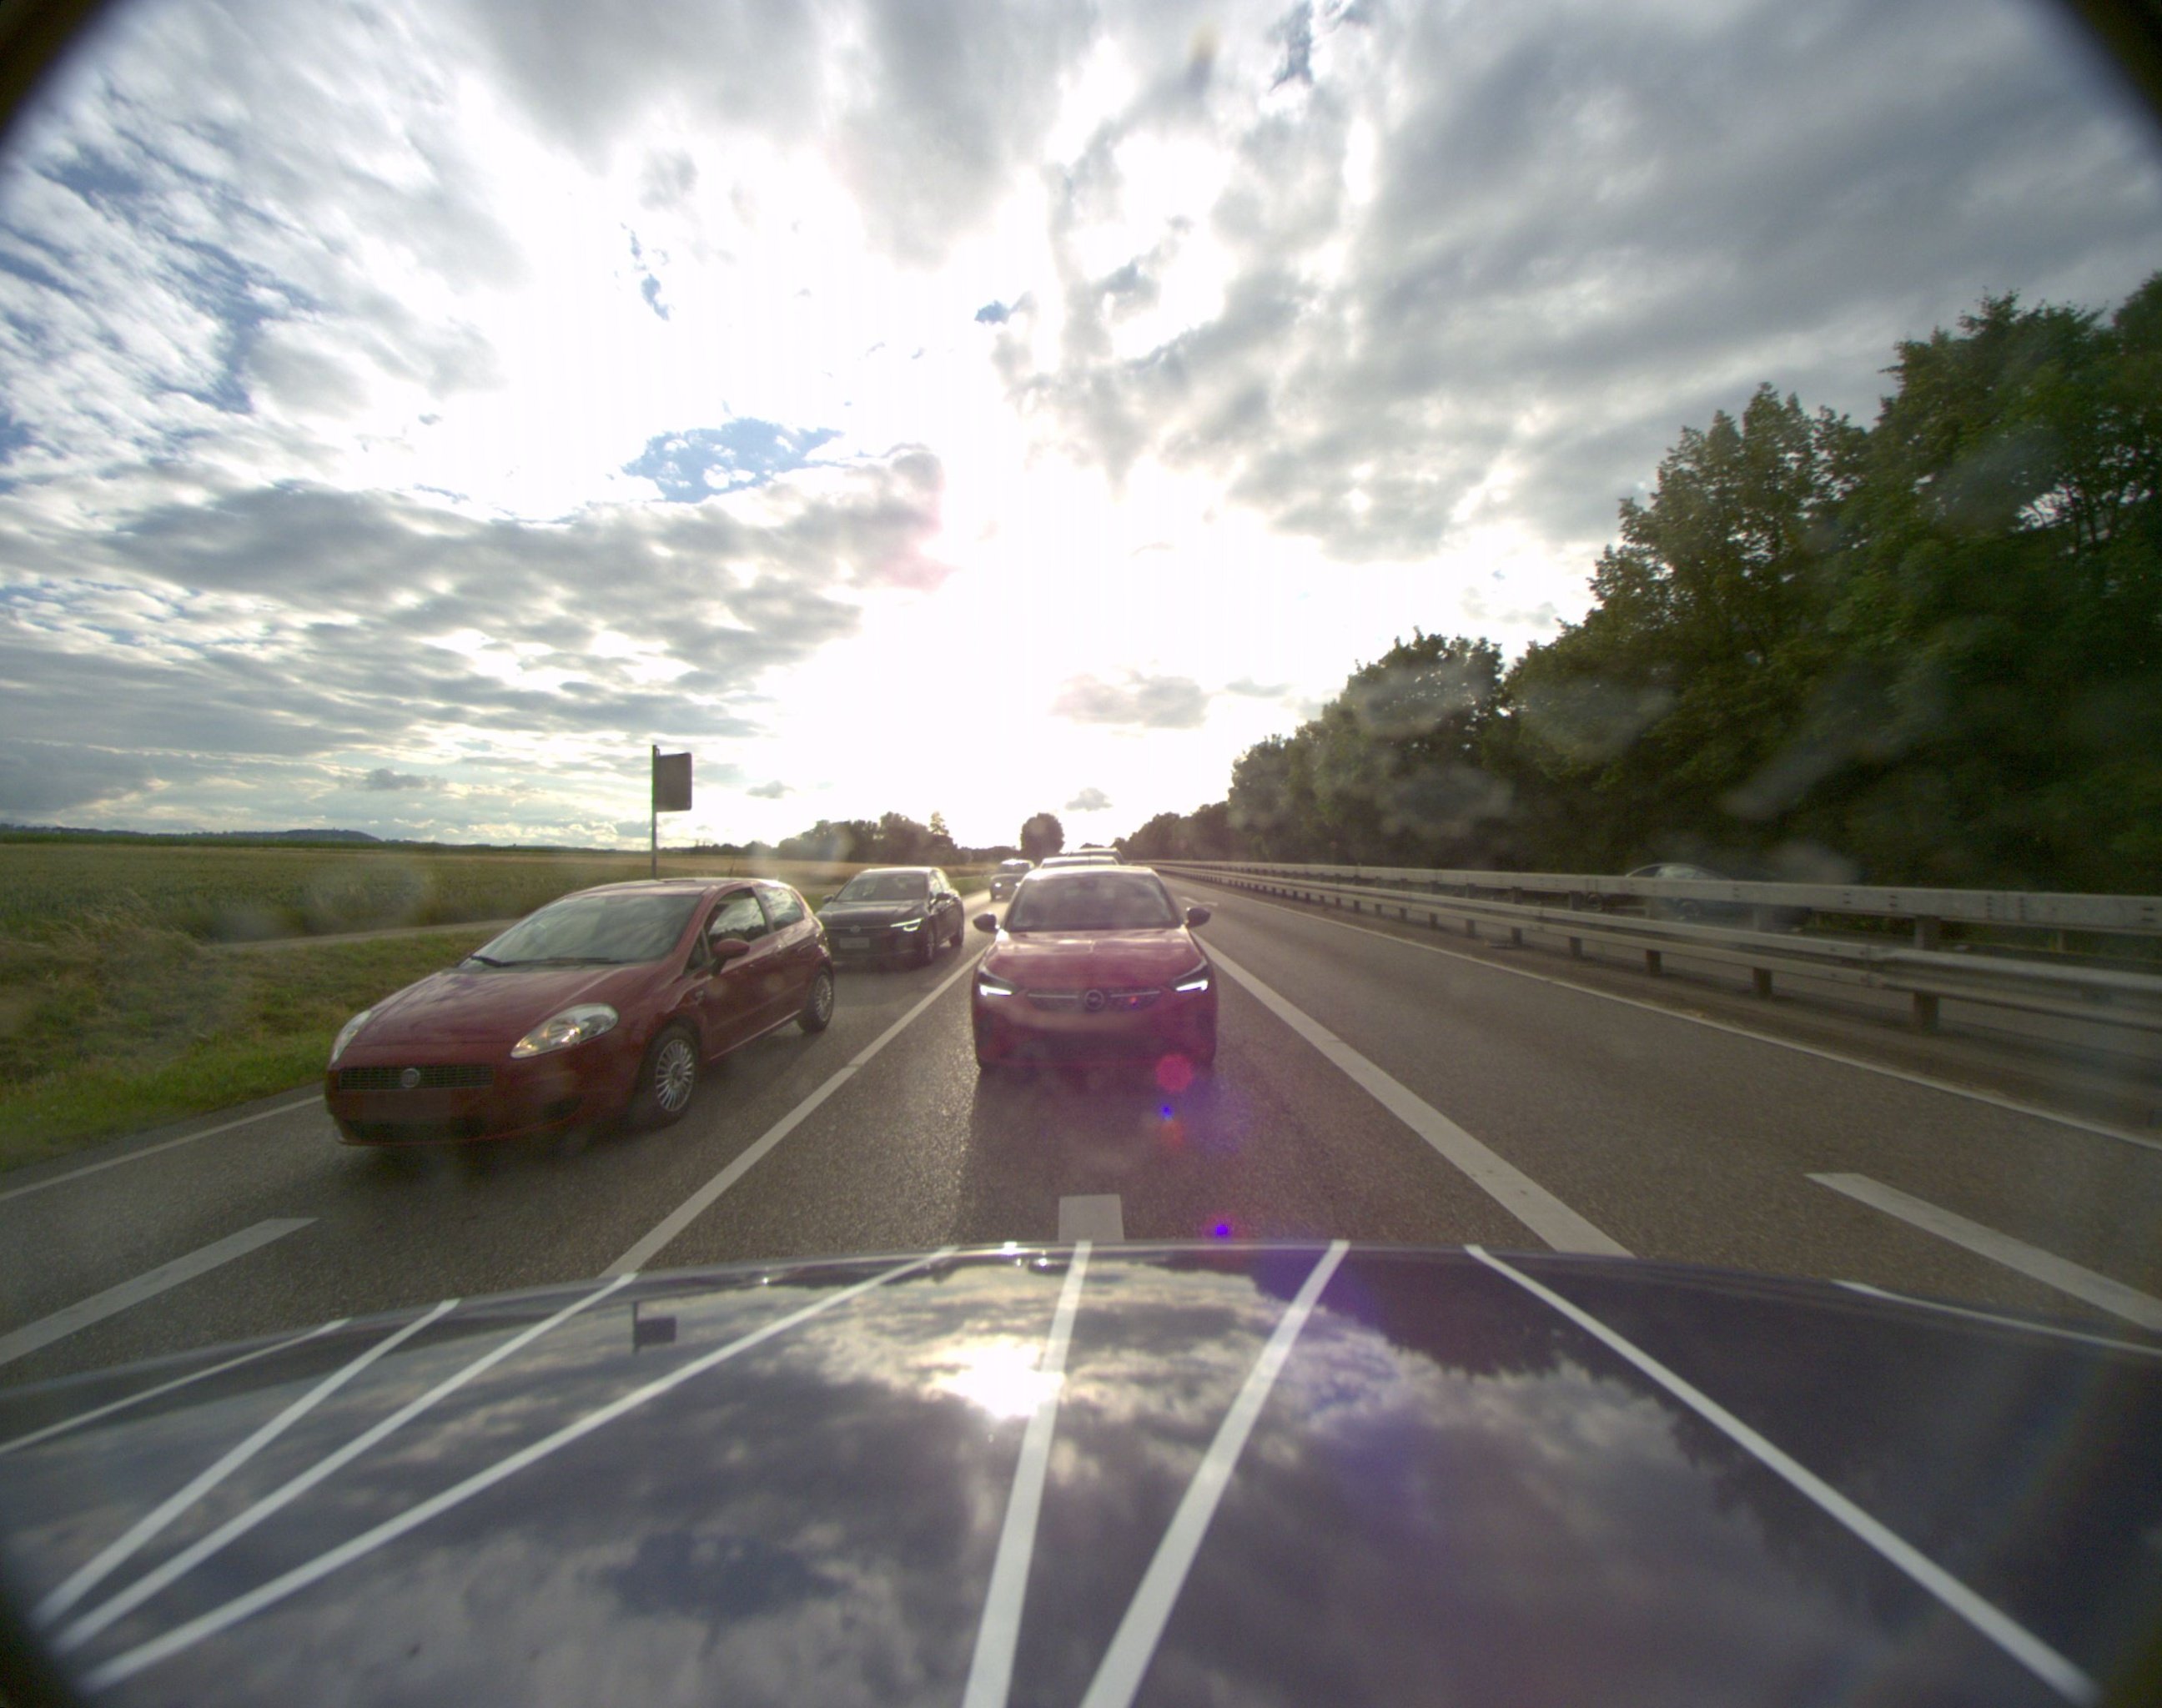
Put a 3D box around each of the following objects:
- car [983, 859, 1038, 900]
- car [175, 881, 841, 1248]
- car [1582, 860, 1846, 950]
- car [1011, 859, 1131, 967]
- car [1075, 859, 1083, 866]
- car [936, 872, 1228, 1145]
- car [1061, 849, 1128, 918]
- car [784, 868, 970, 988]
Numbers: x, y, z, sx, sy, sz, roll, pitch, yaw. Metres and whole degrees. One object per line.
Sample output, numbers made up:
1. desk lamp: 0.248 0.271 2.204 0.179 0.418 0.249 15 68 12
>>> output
1. car: -2.885 1.018 31.690 1.799 1.448 4.032 -2 1 1
2. car: -3.254 1.044 5.456 1.712 1.448 3.908 -2 1 1
3. car: 12.886 0.943 15.926 1.920 1.448 4.373 -2 1 1
4. car: -0.117 0.889 13.280 1.712 1.448 4.061 -2 1 1
5. car: -0.368 1.927 173.911 1.751 1.550 3.731 -2 1 1
6. car: 0.035 0.992 6.638 1.712 1.448 4.061 -2 1 1
7. car: 0.376 0.755 21.736 1.671 1.730 4.032 -2 1 1
8. car: -3.061 1.043 12.318 1.799 1.448 4.032 -2 1 1
